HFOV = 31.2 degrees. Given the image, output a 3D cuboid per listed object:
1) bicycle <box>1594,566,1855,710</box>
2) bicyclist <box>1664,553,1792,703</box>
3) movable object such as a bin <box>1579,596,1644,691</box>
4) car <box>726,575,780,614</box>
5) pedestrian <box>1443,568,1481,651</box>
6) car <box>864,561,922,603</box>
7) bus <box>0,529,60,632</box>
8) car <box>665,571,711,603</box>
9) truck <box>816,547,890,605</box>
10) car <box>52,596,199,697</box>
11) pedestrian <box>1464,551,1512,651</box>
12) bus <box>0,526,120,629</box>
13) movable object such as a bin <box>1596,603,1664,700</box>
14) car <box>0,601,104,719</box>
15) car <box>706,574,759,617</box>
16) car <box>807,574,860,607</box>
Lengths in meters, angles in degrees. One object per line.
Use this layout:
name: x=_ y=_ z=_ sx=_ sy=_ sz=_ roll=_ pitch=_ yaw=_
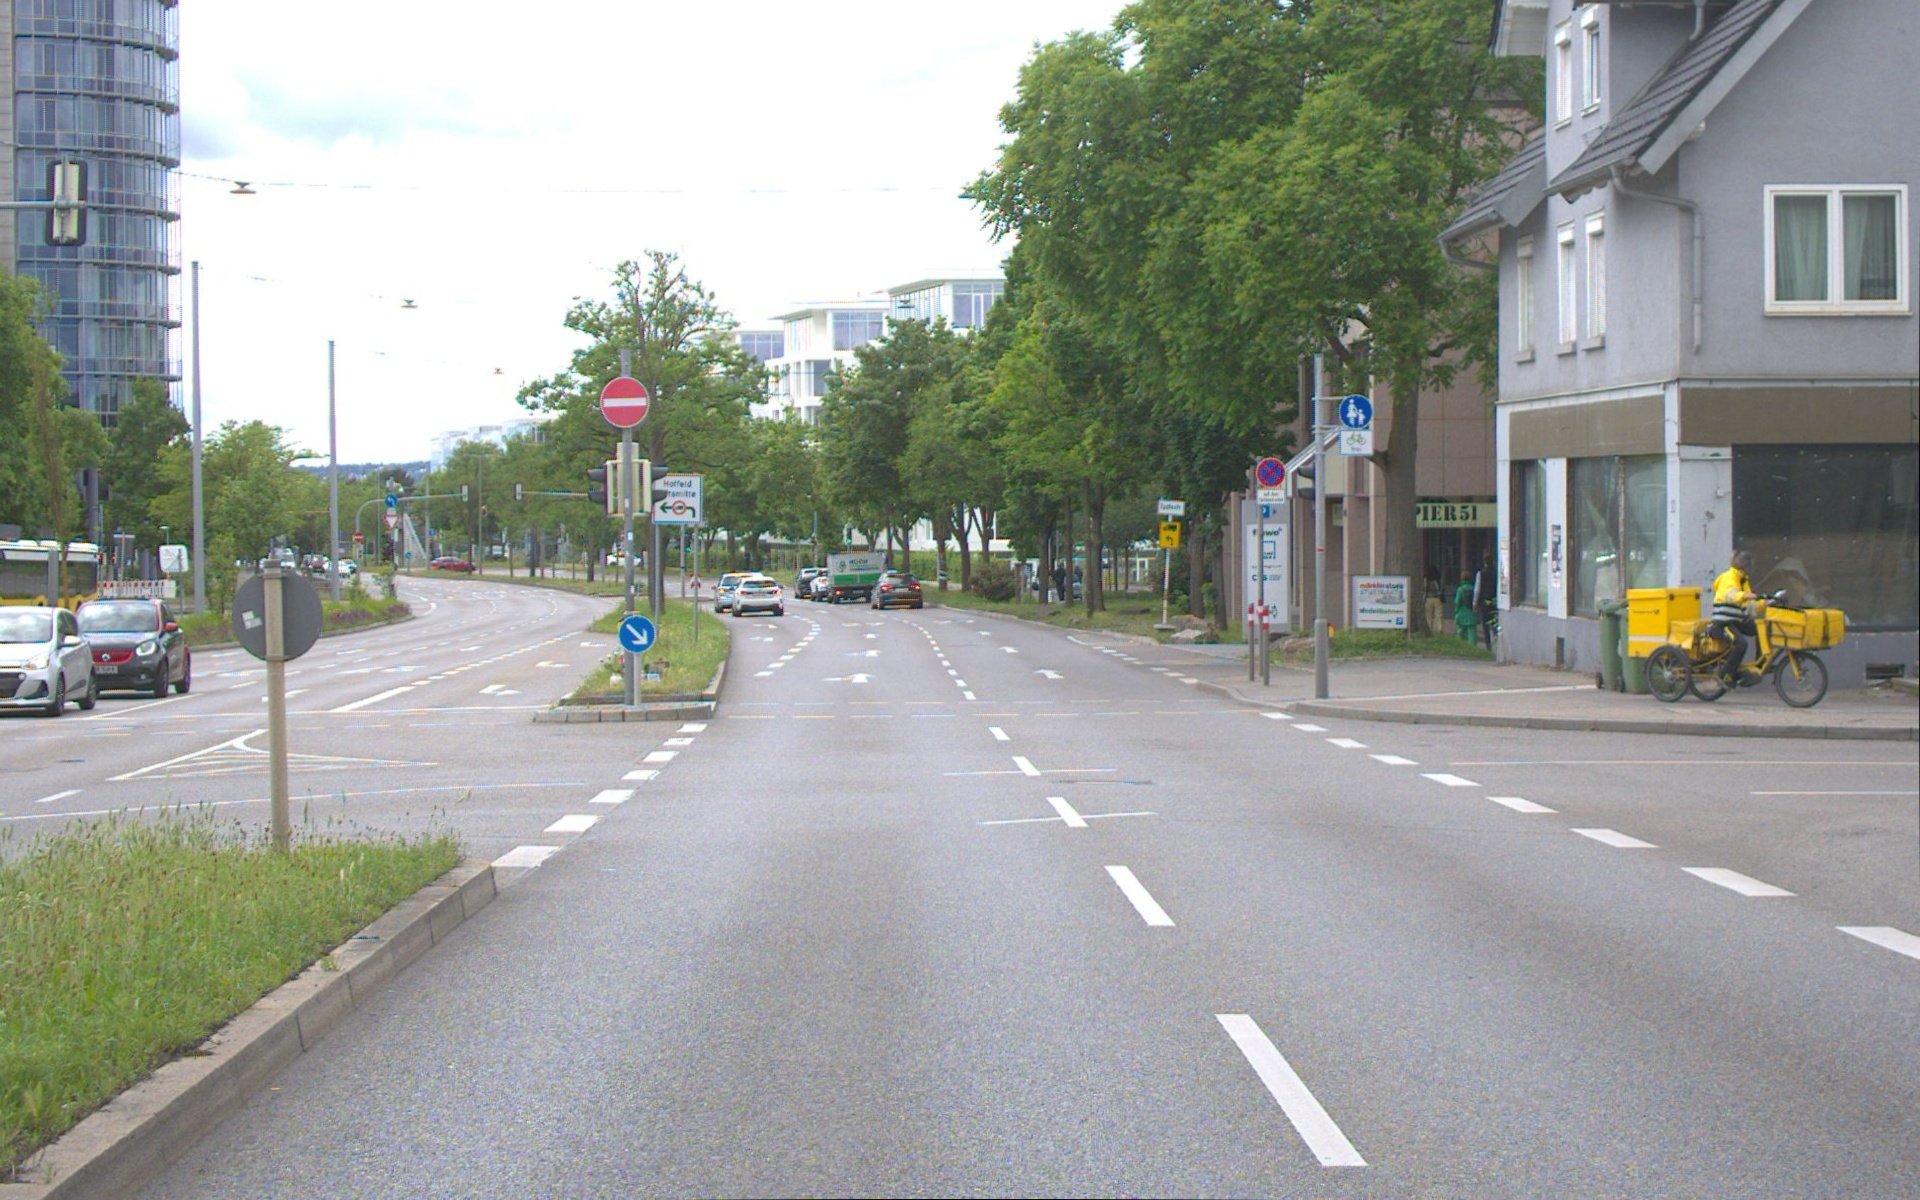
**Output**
bicycle: x=8.285 y=0.403 z=37.354 sx=0.960 sy=1.503 sz=2.683 roll=-1 pitch=0 yaw=-43
bicyclist: x=8.339 y=0.298 z=37.339 sx=0.960 sy=1.593 sz=0.938 roll=-1 pitch=0 yaw=-26
movable object such as a bin: x=7.681 y=0.510 z=40.571 sx=0.608 sy=1.100 sz=0.710 roll=0 pitch=0 yaw=-2
car: x=-7.753 y=-0.199 z=128.577 sx=1.863 sy=1.444 sz=4.001 roll=-1 pitch=0 yaw=-6
pedestrian: x=9.527 y=0.185 z=65.261 sx=0.561 sy=1.544 sz=0.544 roll=-2 pitch=0 yaw=-1
car: x=-2.656 y=-0.717 z=134.904 sx=1.993 sy=1.590 sz=4.001 roll=-1 pitch=1 yaw=-5
bus: x=-31.432 y=-0.663 z=110.194 sx=3.083 sy=3.152 sz=10.739 roll=1 pitch=0 yaw=-4
car: x=-13.354 y=-0.632 z=168.802 sx=1.993 sy=1.503 sz=4.000 roll=-1 pitch=0 yaw=-1
truck: x=-4.807 y=-1.057 z=153.164 sx=2.859 sy=2.511 sz=6.288 roll=-1 pitch=0 yaw=-6
car: x=-13.003 y=0.698 z=53.742 sx=1.658 sy=1.503 sz=3.769 roll=-1 pitch=0 yaw=-5
pedestrian: x=9.741 y=0.016 z=63.443 sx=0.657 sy=1.820 sz=0.843 roll=-2 pitch=0 yaw=-1
bus: x=-32.039 y=-0.797 z=120.451 sx=3.031 sy=3.444 sz=9.912 roll=1 pitch=0 yaw=-2
movable object such as a bin: x=7.740 y=0.592 z=39.730 sx=0.626 sy=1.100 sz=0.710 roll=0 pitch=0 yaw=-2
car: x=-12.821 y=0.779 z=46.605 sx=1.745 sy=1.460 sz=3.791 roll=0 pitch=1 yaw=-4
car: x=-9.194 y=-0.177 z=138.664 sx=1.993 sy=1.666 sz=4.001 roll=-1 pitch=0 yaw=-5
car: x=-5.902 y=-0.457 z=160.519 sx=1.993 sy=1.503 sz=4.001 roll=-1 pitch=1 yaw=-9
